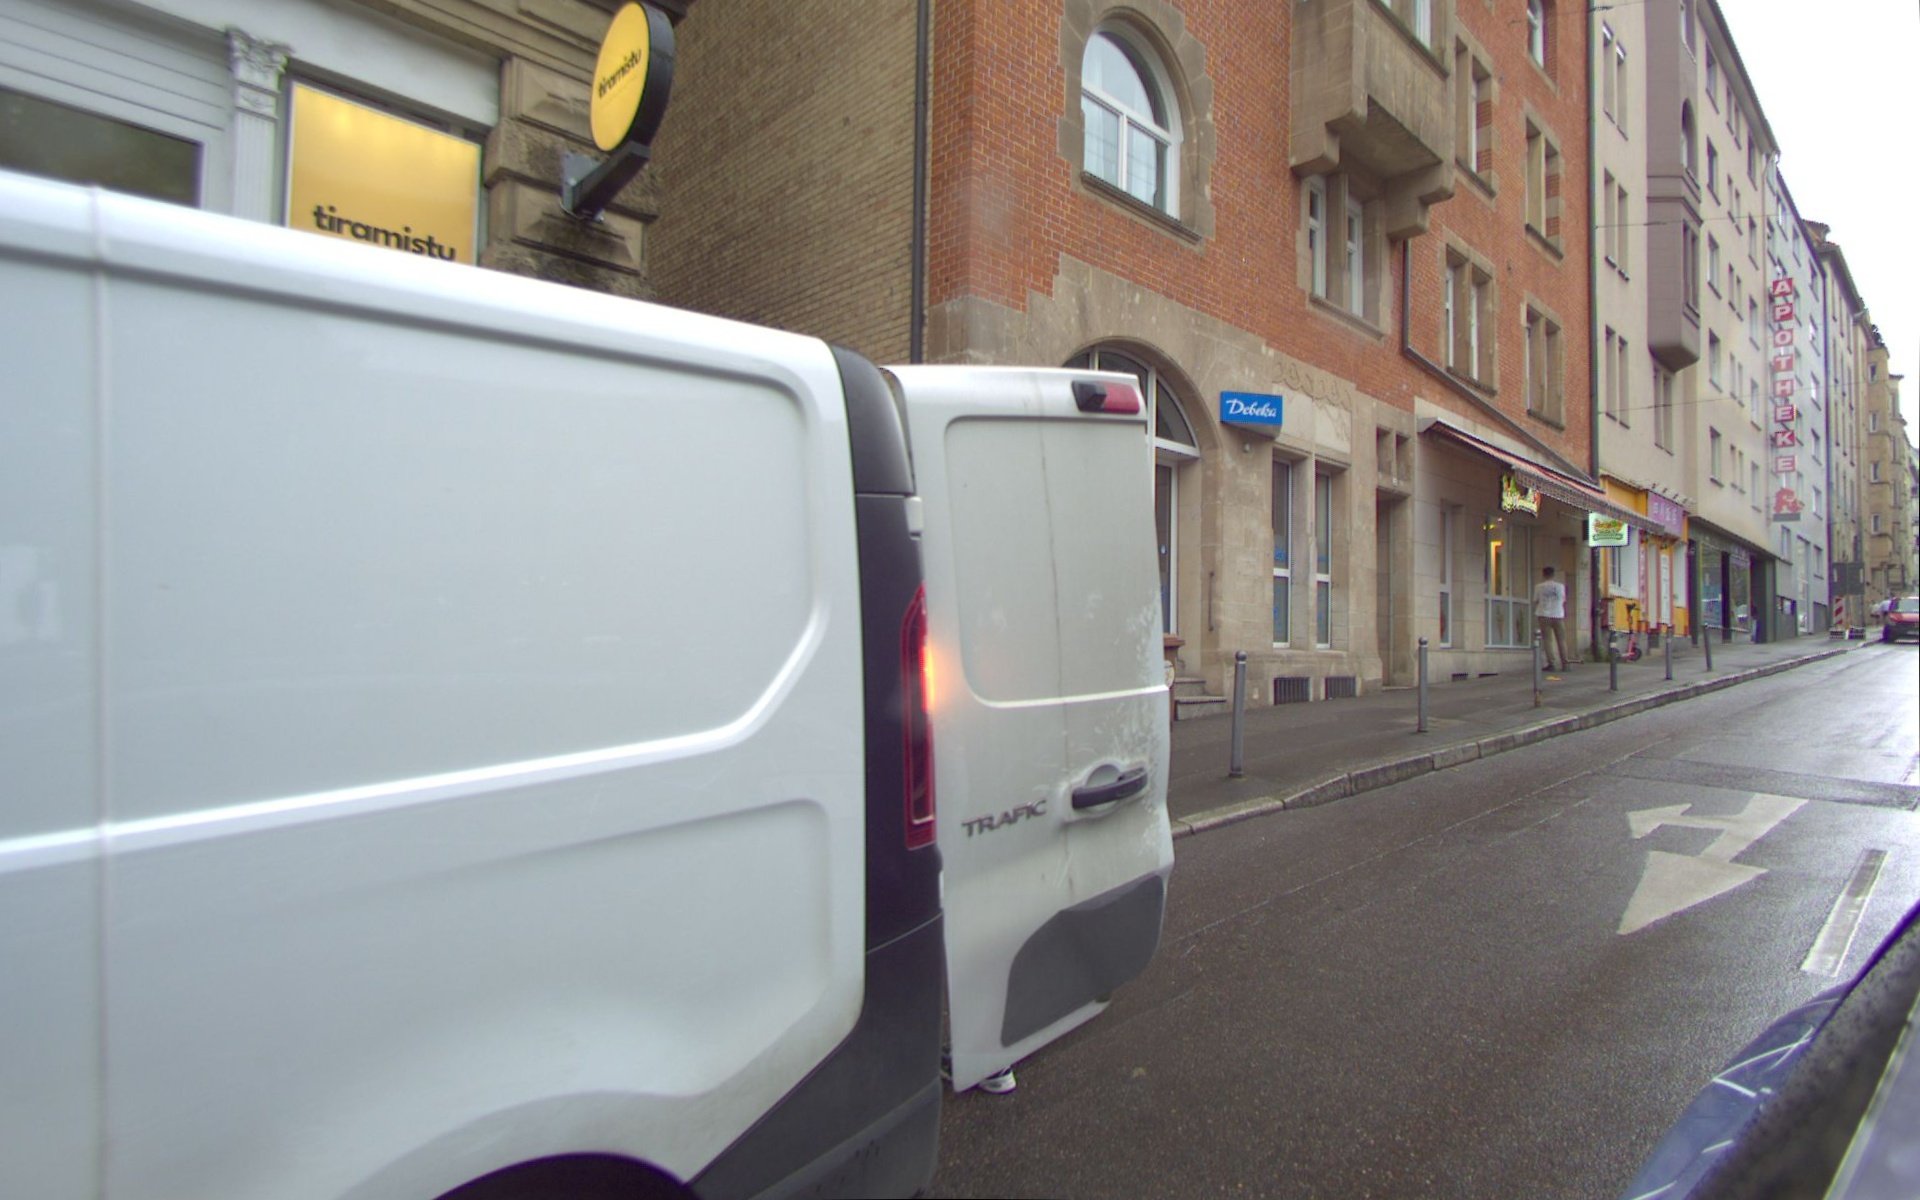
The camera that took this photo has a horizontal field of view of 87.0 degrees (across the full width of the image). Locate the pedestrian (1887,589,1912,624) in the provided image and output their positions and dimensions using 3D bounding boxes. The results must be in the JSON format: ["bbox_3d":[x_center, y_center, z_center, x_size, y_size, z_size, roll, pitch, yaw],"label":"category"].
[{"bbox_3d":[47.939,0.349,51.647,0.823,1.780,0.852,1,-2,-43],"label":"pedestrian"}]

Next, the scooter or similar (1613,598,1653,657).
[{"bbox_3d":[14.251,0.583,21.419,1.171,1.237,0.258,2,-2,-34],"label":"scooter or similar"}]

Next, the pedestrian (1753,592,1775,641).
[{"bbox_3d":[27.772,0.573,34.970,0.475,1.666,0.329,-1,-2,17],"label":"pedestrian"}]

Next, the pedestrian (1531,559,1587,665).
[{"bbox_3d":[10.754,0.200,18.195,0.568,1.852,0.564,1,2,-3],"label":"pedestrian"}]

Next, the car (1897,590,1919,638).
[{"bbox_3d":[38.616,0.526,40.143,1.975,1.861,5.161,0,0,45],"label":"car"}]

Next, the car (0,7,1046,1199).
[{"bbox_3d":[-2.173,0.425,1.082,4.605,1.960,1.923,0,-1,-42],"label":"car"}]
